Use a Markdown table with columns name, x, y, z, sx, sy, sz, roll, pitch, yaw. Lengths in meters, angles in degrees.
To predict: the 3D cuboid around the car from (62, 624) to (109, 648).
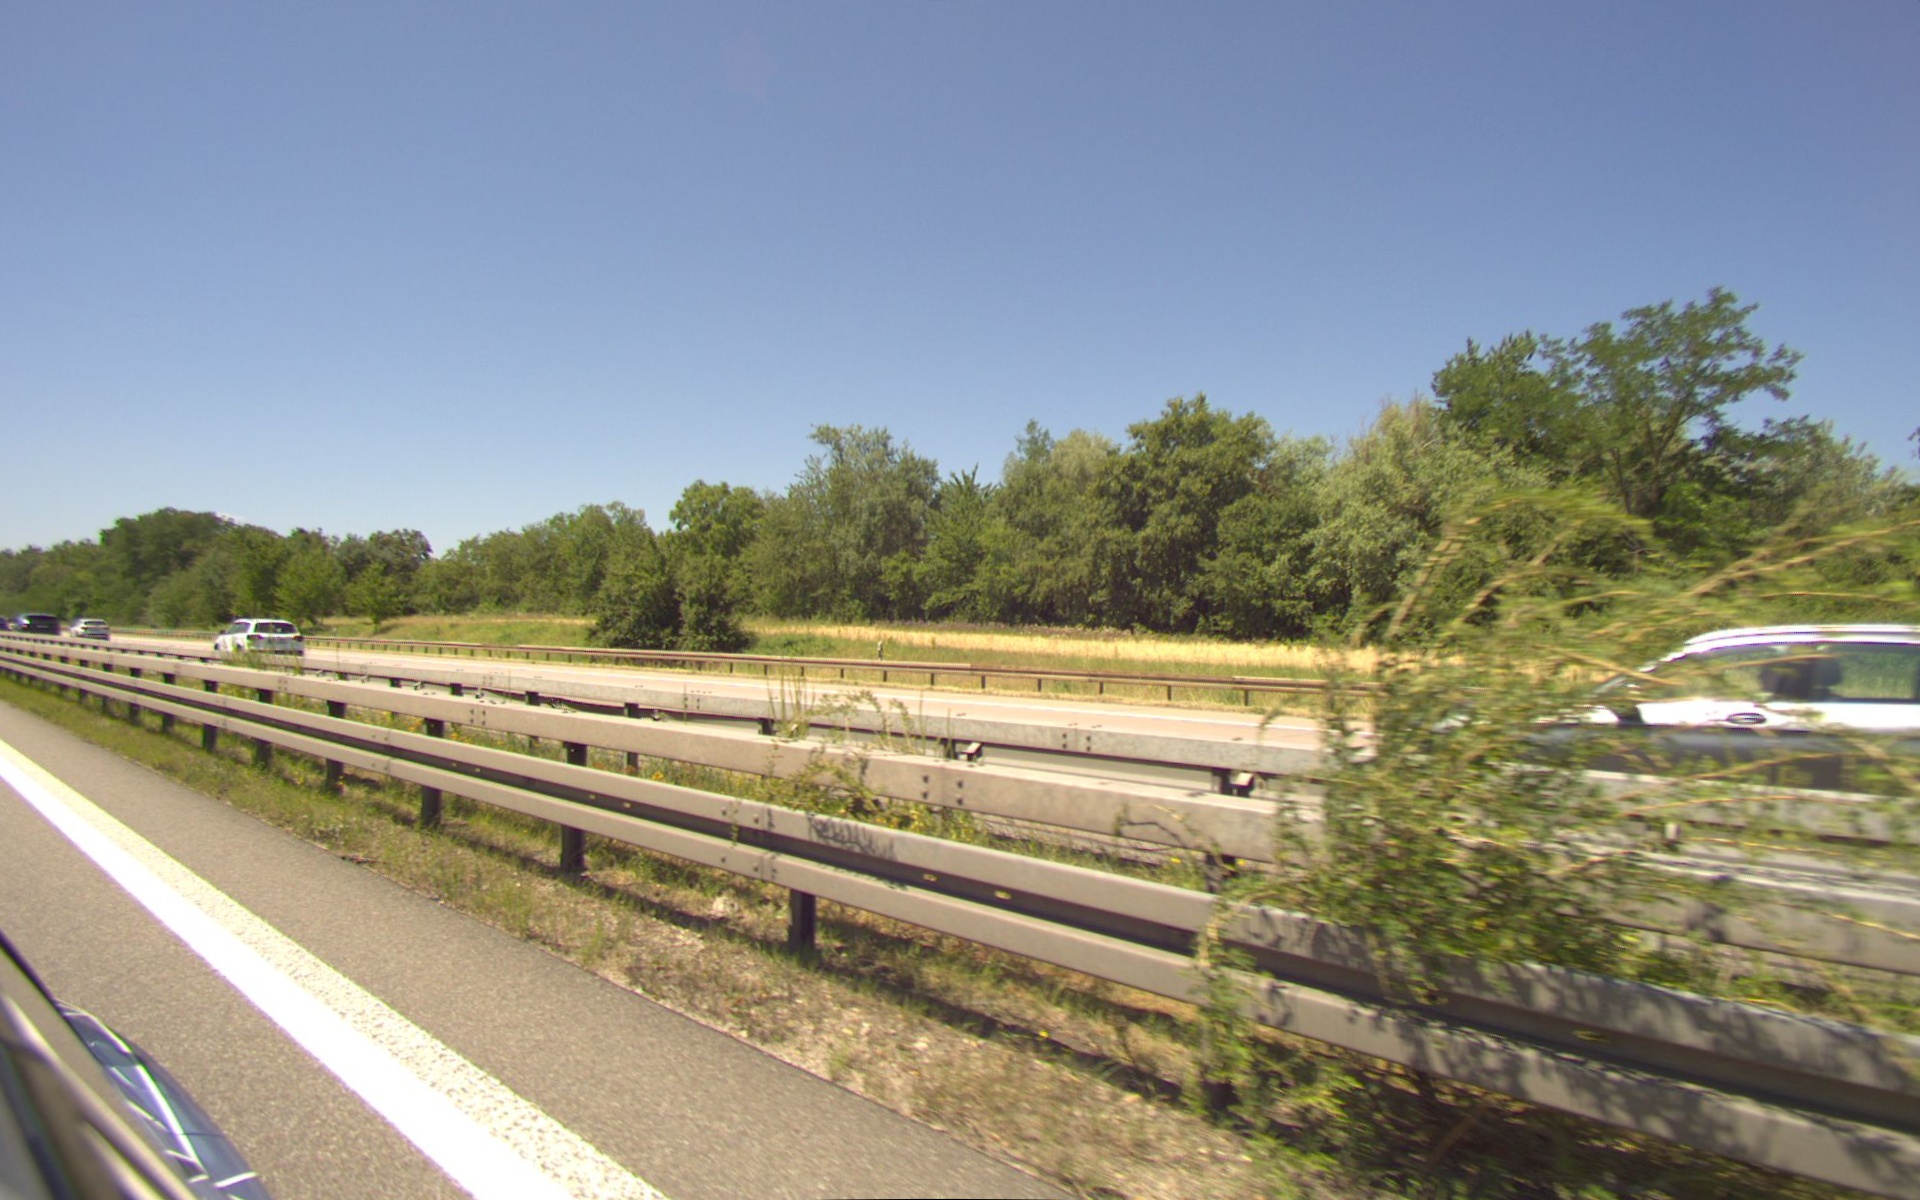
| name | x | y | z | sx | sy | sz | roll | pitch | yaw |
| --- | --- | --- | --- | --- | --- | --- | --- | --- | --- |
| car | -60.134 | 2.437 | 69.567 | 4.190 | 1.578 | 1.859 | -1 | -3 | 41 |

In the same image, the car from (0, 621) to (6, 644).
| name | x | y | z | sx | sy | sz | roll | pitch | yaw |
| --- | --- | --- | --- | --- | --- | --- | --- | --- | --- |
| car | -73.544 | 2.440 | 76.405 | 3.984 | 1.764 | 1.749 | -1 | -3 | 41 |

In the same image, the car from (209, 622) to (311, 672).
| name | x | y | z | sx | sy | sz | roll | pitch | yaw |
| --- | --- | --- | --- | --- | --- | --- | --- | --- | --- |
| car | -23.145 | 1.532 | 33.403 | 3.959 | 1.548 | 1.790 | -1 | -3 | 41 |

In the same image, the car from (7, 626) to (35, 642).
| name | x | y | z | sx | sy | sz | roll | pitch | yaw |
| --- | --- | --- | --- | --- | --- | --- | --- | --- | --- |
| car | -91.246 | 3.288 | 98.341 | 3.475 | 1.439 | 1.565 | -1 | -3 | 41 |

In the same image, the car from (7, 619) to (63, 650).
| name | x | y | z | sx | sy | sz | roll | pitch | yaw |
| --- | --- | --- | --- | --- | --- | --- | --- | --- | --- |
| car | -54.802 | 2.033 | 59.939 | 4.441 | 1.785 | 1.939 | -1 | -3 | 41 |

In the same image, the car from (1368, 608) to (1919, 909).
| name | x | y | z | sx | sy | sz | roll | pitch | yaw |
| --- | --- | --- | --- | --- | --- | --- | --- | --- | --- |
| car | 5.127 | 0.925 | 6.953 | 3.959 | 1.660 | 1.790 | -1 | -3 | 41 |
